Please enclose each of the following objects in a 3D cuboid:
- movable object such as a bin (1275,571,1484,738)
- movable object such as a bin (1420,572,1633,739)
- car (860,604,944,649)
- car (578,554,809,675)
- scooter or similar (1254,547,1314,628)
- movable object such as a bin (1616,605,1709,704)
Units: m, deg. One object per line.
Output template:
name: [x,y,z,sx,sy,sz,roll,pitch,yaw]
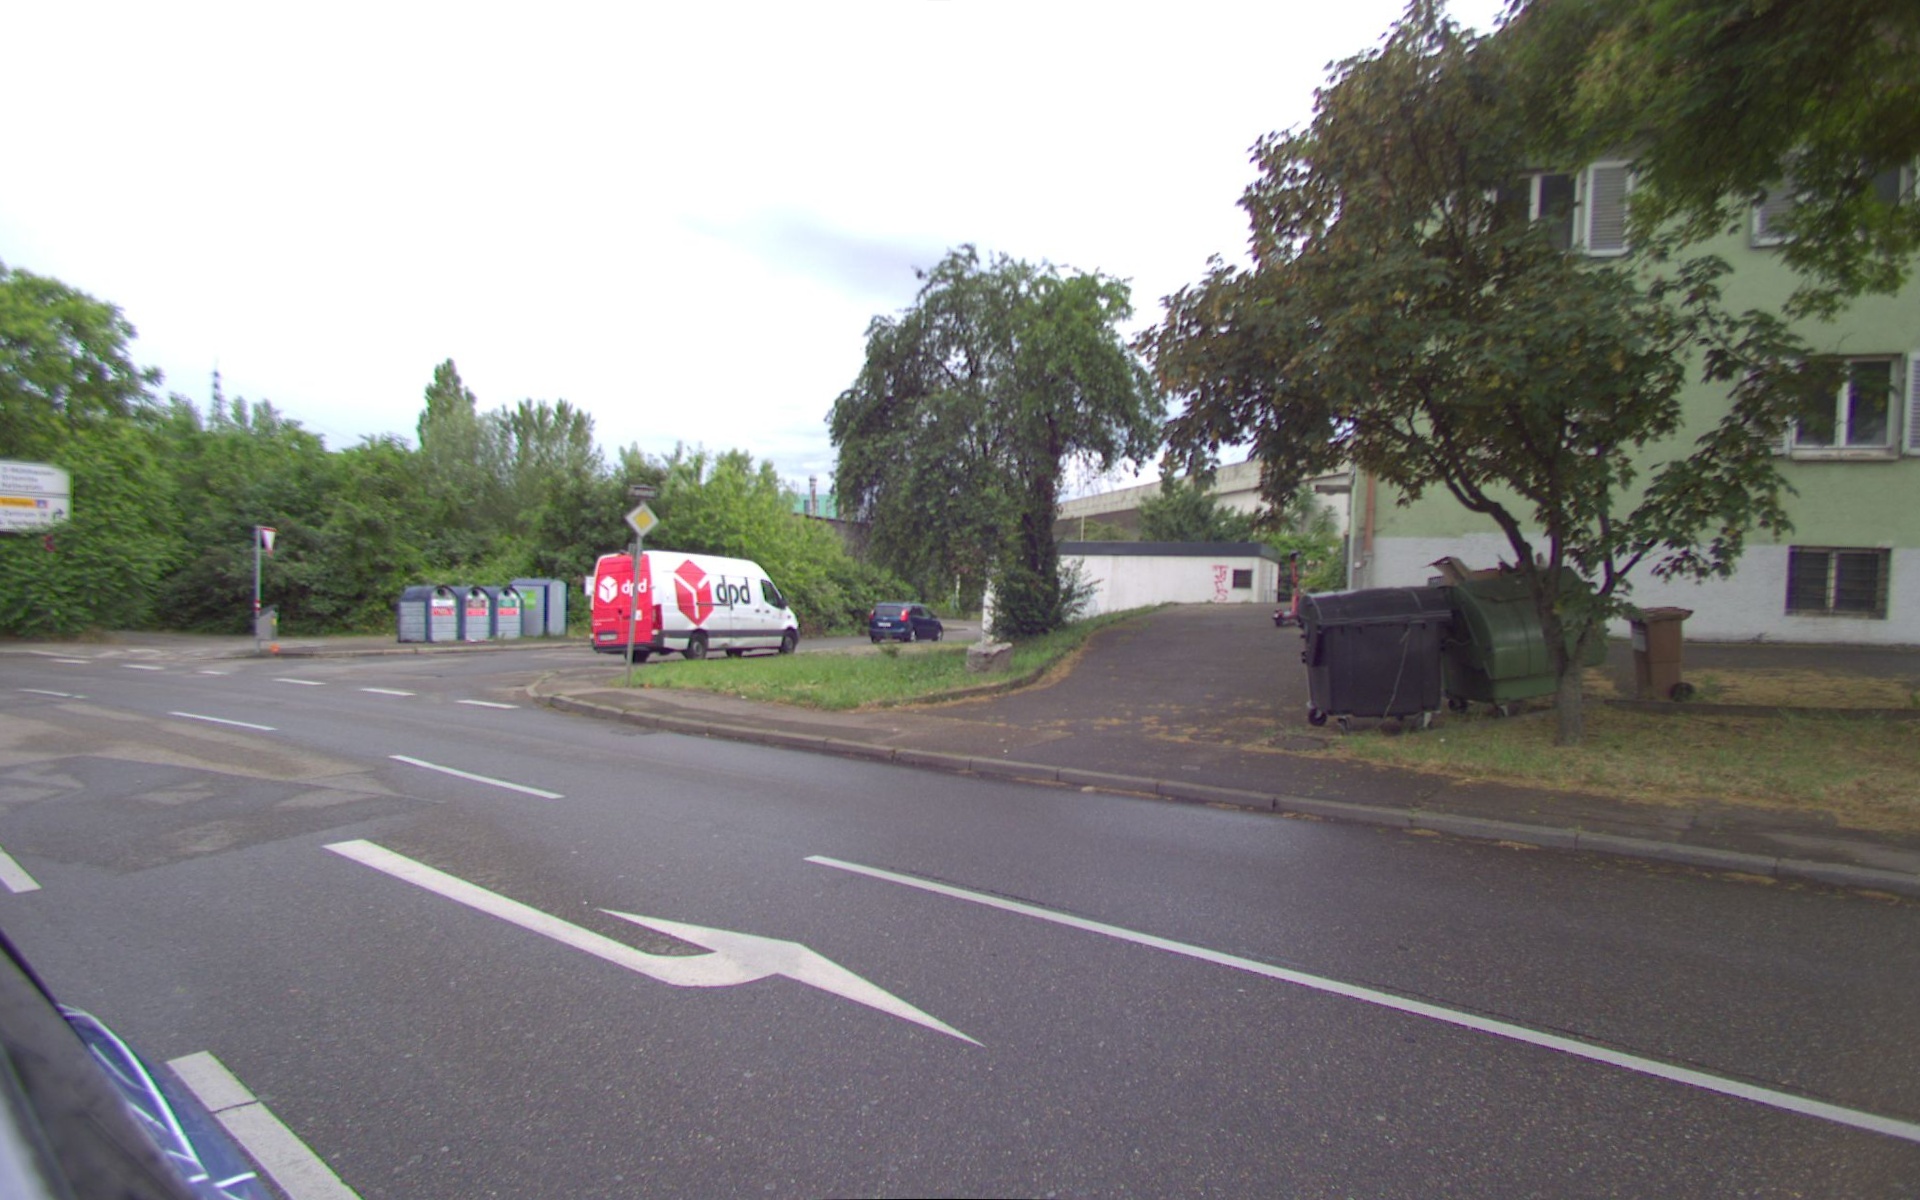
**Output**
movable object such as a bin: [4.238,0.505,10.356,1.440,1.448,1.296,-5,3,-6]
movable object such as a bin: [5.693,0.515,10.247,1.440,1.448,1.102,-5,3,-6]
car: [-2.239,1.002,40.425,1.984,1.642,4.228,1,0,18]
car: [-6.521,0.302,25.935,2.246,2.675,6.777,1,0,20]
scooter or similar: [5.514,-0.236,17.162,0.529,1.283,1.507,1,4,35]
movable object such as a bin: [7.195,0.537,10.362,0.723,0.964,0.551,1,0,41]
